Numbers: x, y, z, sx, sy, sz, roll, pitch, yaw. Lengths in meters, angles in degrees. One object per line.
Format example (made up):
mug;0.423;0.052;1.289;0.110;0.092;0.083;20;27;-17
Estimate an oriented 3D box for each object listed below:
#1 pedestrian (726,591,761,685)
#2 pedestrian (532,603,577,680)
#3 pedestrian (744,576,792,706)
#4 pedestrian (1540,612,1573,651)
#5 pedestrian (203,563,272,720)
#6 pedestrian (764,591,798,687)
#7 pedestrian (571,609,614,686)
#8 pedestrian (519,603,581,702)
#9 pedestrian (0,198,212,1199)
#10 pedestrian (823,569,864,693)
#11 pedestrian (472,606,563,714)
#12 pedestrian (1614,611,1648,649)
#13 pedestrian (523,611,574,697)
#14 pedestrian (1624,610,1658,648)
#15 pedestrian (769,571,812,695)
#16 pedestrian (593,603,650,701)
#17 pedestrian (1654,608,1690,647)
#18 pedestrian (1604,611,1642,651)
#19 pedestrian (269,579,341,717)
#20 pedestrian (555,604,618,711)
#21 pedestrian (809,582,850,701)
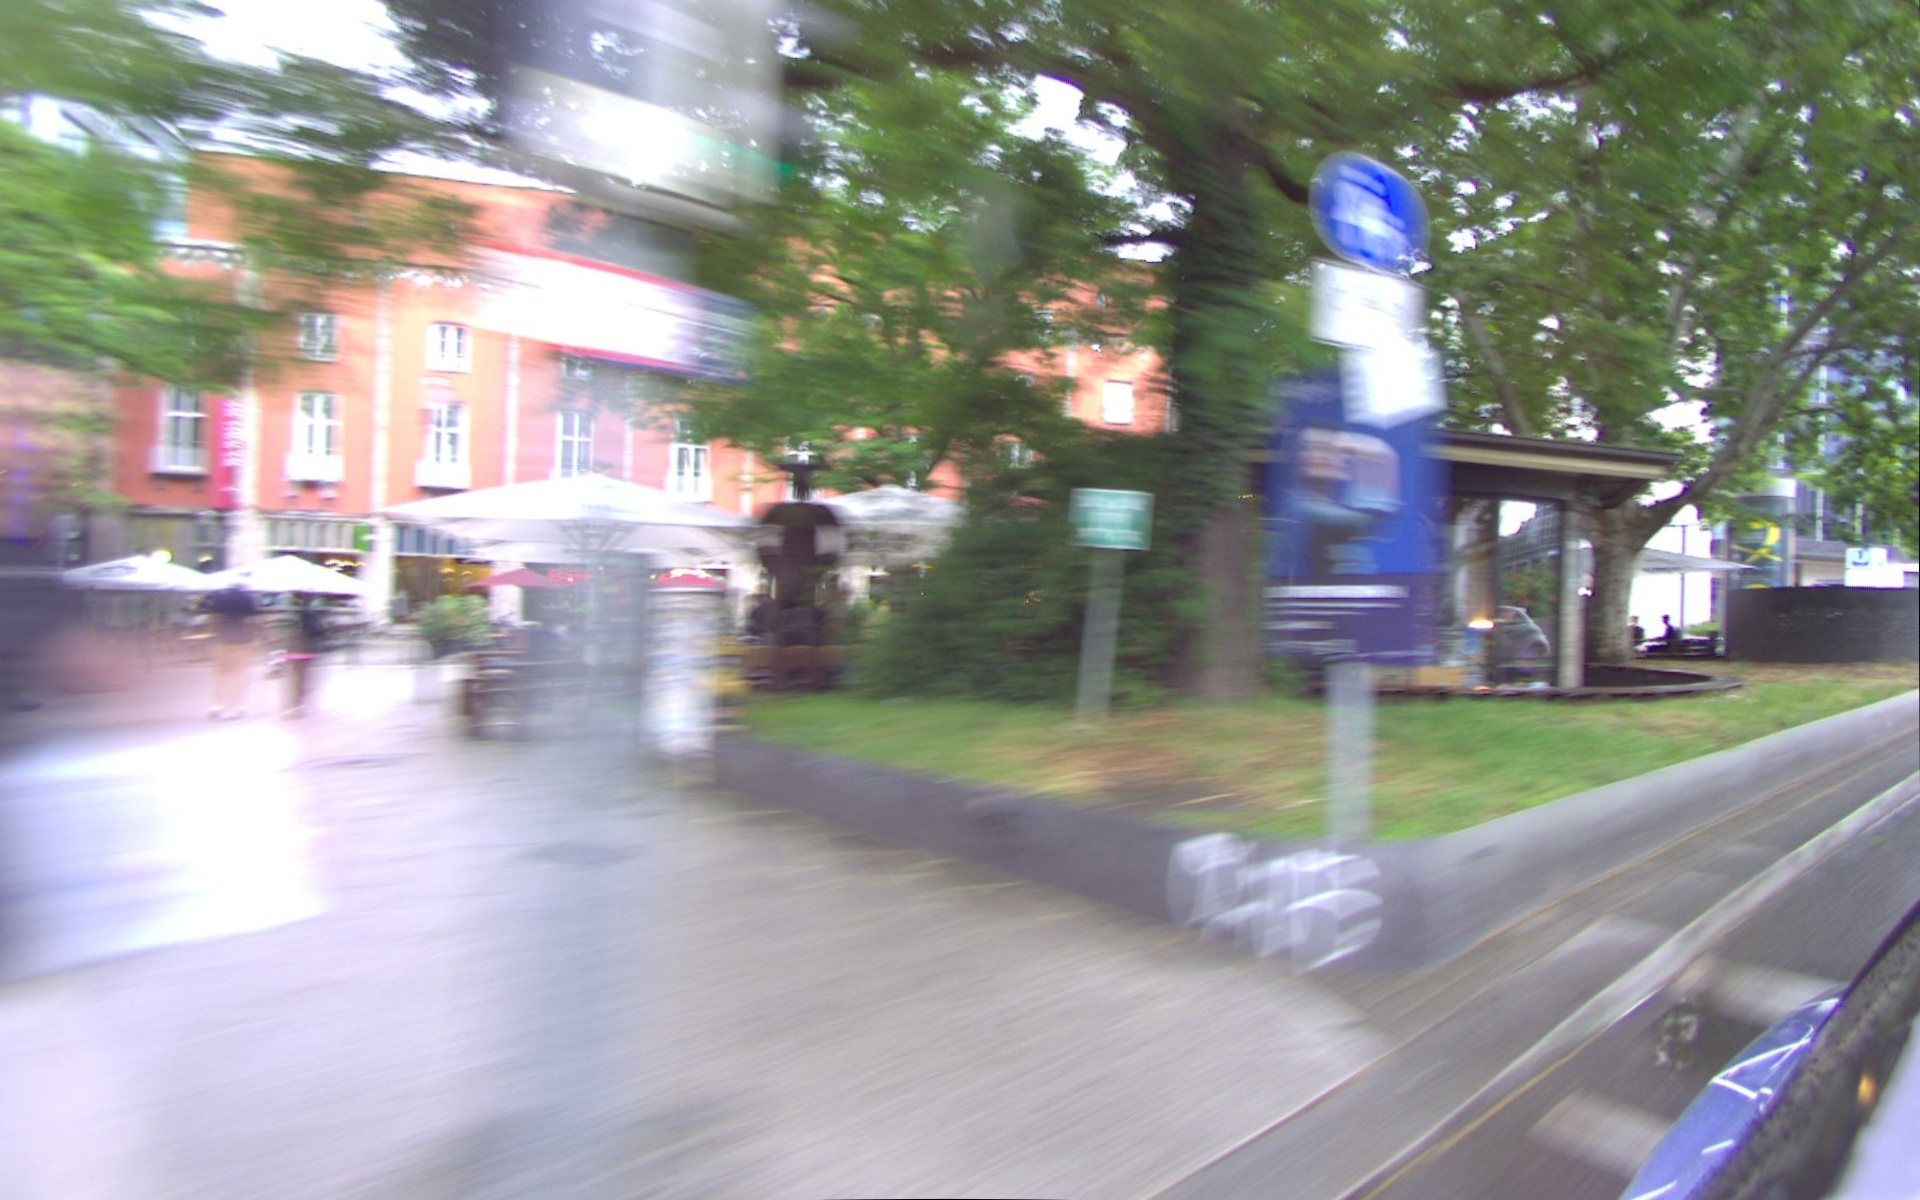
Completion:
pedestrian;-3.971;0.693;18.566;0.536;1.702;0.499;0;-1;-2
pedestrian;-6.763;0.684;16.891;0.564;1.256;0.635;0;-1;-10
pedestrian;-2.792;0.592;14.769;0.629;1.859;0.499;0;-1;-3
pedestrian;14.136;0.741;23.997;0.567;0.883;0.562;1;0;20
pedestrian;-9.123;0.513;12.783;0.622;1.914;0.464;1;-2;-44
pedestrian;-3.193;0.689;18.095;0.536;1.702;0.499;0;-1;-2
pedestrian;-6.104;0.781;16.844;0.564;1.256;0.635;0;-1;-10
pedestrian;-5.686;0.713;14.064;0.628;1.344;0.720;0;-1;-9
pedestrian;-1.492;0.400;1.542;0.552;1.858;0.634;0;0;-36
pedestrian;-1.621;0.426;14.131;0.536;1.702;0.499;0;-1;-2
pedestrian;-5.693;0.759;13.058;0.927;1.344;0.642;0;-1;-6
pedestrian;16.010;0.704;24.155;0.567;0.883;0.506;1;0;20
pedestrian;-6.158;0.797;15.167;0.564;1.256;0.635;0;-1;-9
pedestrian;16.614;0.700;24.709;0.567;0.883;0.506;1;0;20
pedestrian;-2.368;0.450;14.163;0.536;1.702;0.499;0;-1;-2
pedestrian;-4.749;0.716;14.236;0.628;1.344;0.720;0;-1;-9
pedestrian;16.707;0.630;23.748;0.567;0.883;0.506;1;0;20
pedestrian;15.338;0.708;23.433;0.567;0.883;0.738;1;1;20
pedestrian;-8.392;0.596;12.967;0.615;1.702;0.847;1;-2;-44
pedestrian;-4.849;0.729;13.160;0.628;1.344;0.720;0;-1;-9
pedestrian;-1.903;0.597;14.814;0.536;1.702;0.605;0;-1;-3
